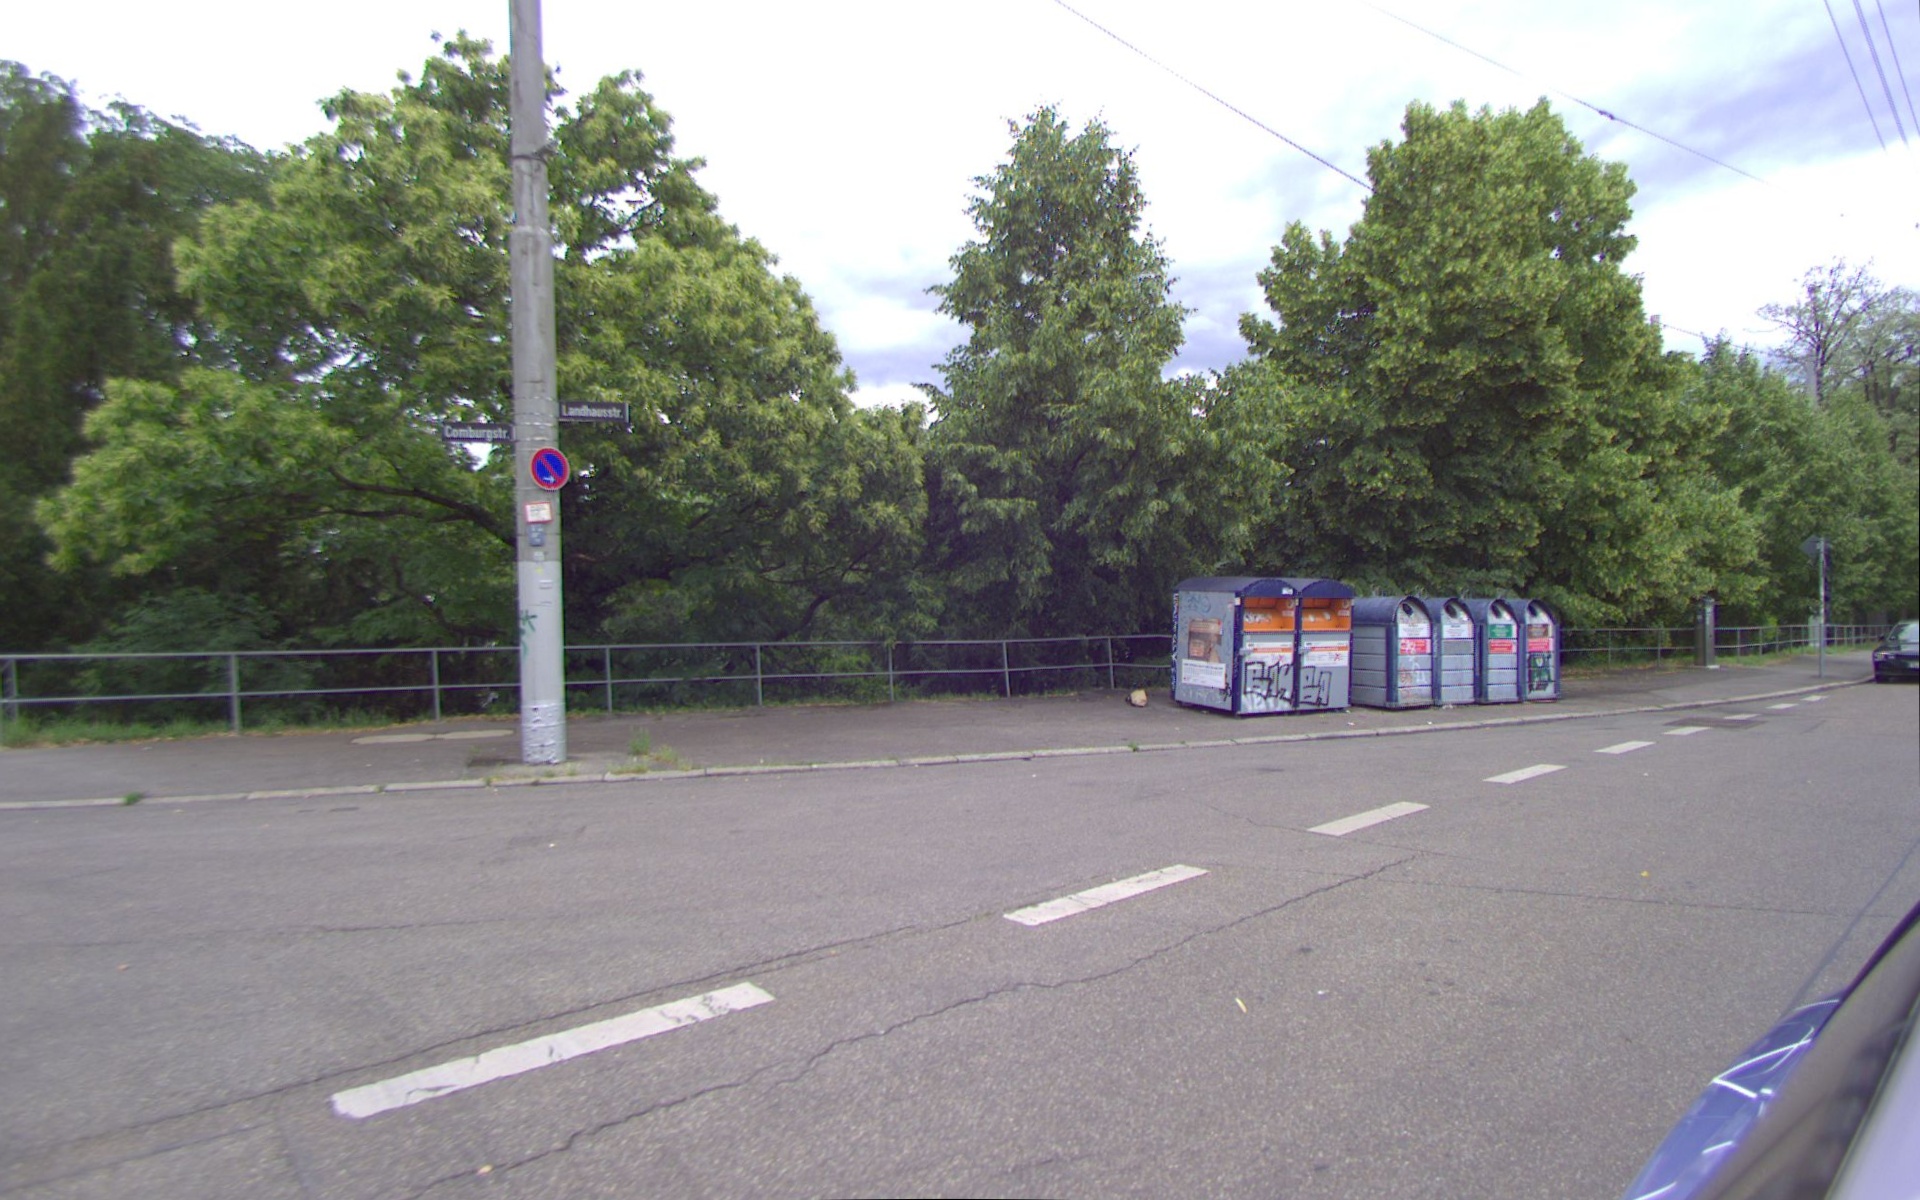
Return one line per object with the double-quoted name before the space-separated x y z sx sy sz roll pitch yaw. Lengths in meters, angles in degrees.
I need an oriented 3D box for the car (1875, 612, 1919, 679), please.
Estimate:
"car" 22.945 1.002 23.550 4.311 1.461 1.861 0 -3 -41
